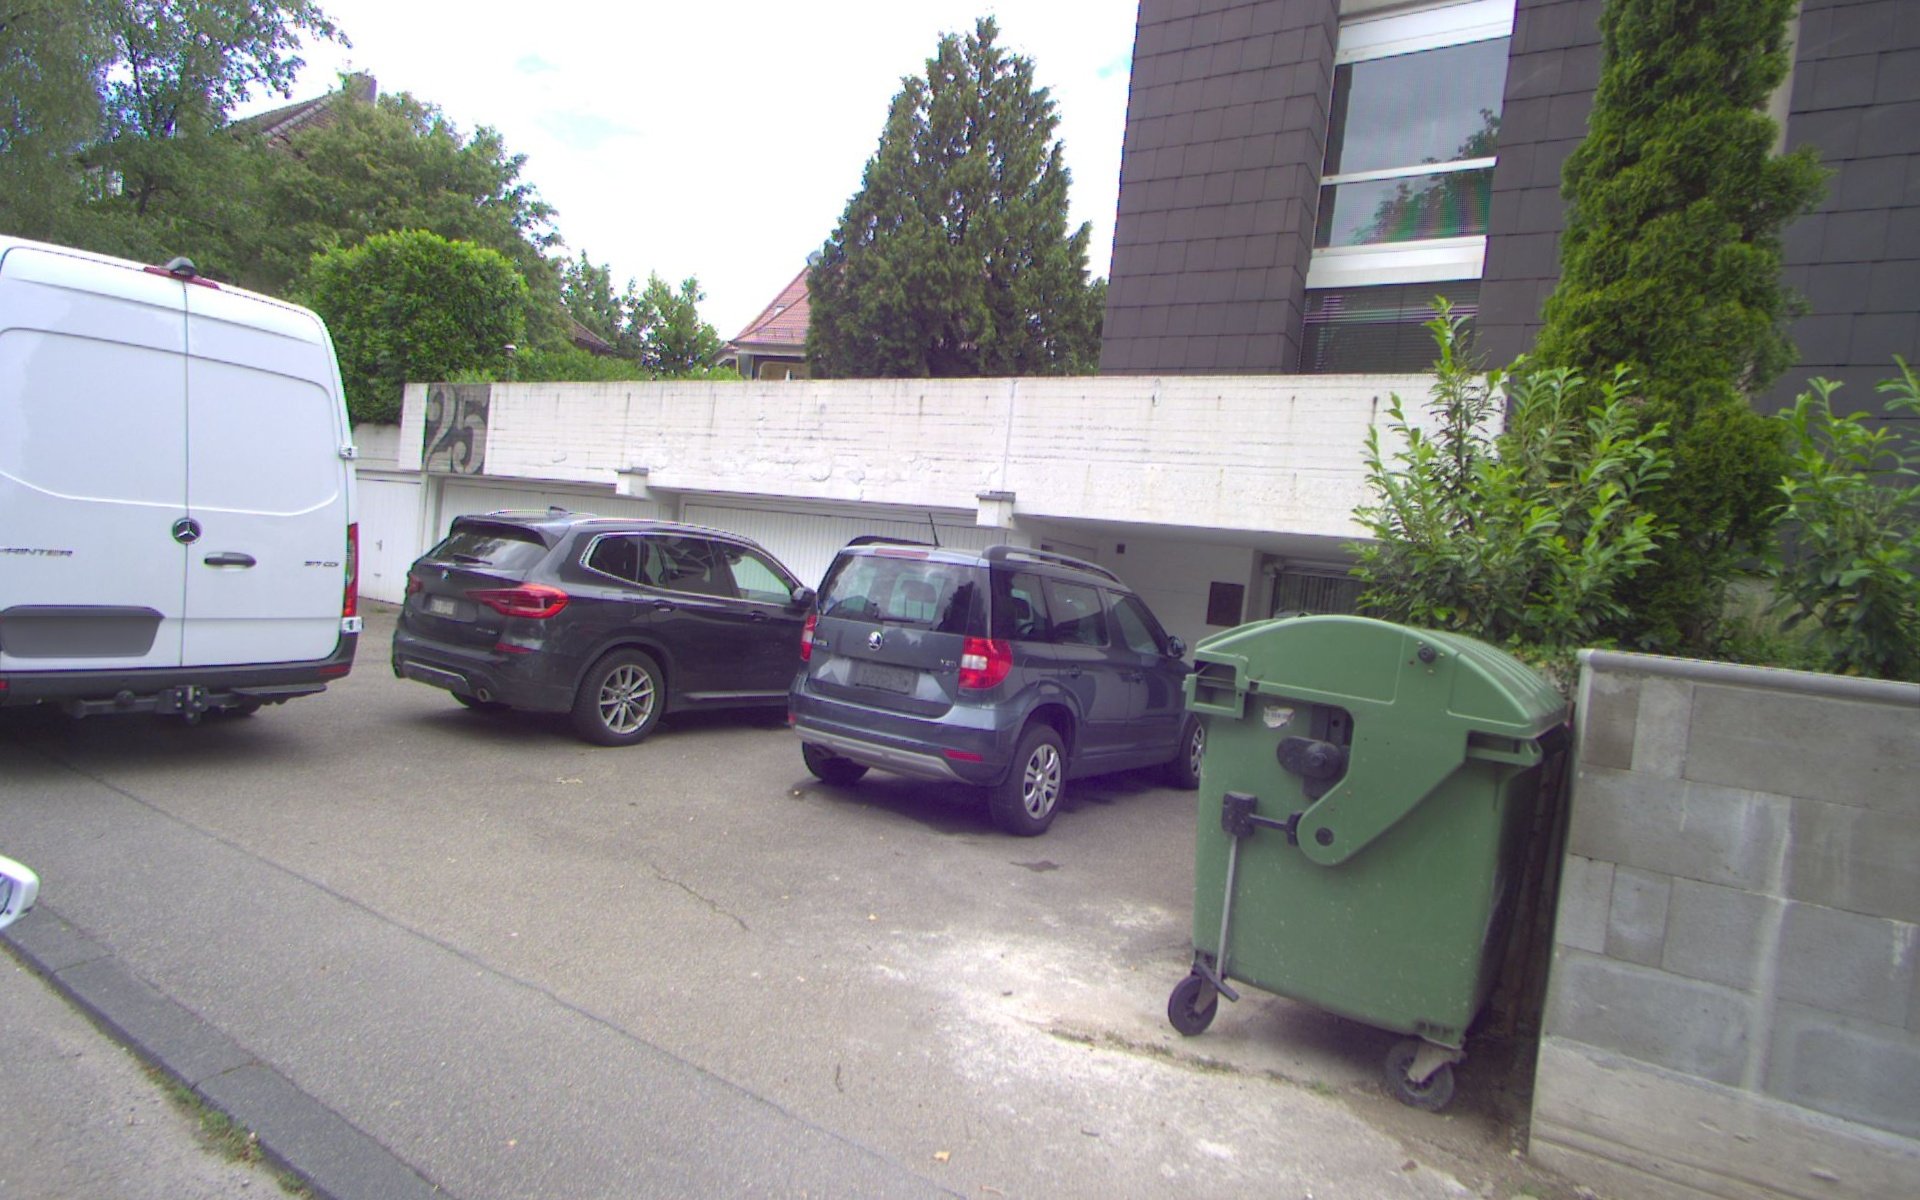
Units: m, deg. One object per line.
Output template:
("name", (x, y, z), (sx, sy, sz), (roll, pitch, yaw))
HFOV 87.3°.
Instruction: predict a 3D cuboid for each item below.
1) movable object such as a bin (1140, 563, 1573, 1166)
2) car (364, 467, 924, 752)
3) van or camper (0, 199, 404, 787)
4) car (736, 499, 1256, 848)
("movable object such as a bin", (1.363, 0.729, 3.393), (1.016, 1.550, 1.034), (7, 2, 33))
("car", (-2.350, 0.124, 8.680), (1.710, 1.772, 4.418), (7, 1, 33))
("van or camper", (-6.694, -0.732, 6.903), (6.432, 2.653, 1.995), (7, 1, 32))
("car", (0.545, 0.454, 7.398), (1.804, 1.772, 3.973), (7, 1, 35))
